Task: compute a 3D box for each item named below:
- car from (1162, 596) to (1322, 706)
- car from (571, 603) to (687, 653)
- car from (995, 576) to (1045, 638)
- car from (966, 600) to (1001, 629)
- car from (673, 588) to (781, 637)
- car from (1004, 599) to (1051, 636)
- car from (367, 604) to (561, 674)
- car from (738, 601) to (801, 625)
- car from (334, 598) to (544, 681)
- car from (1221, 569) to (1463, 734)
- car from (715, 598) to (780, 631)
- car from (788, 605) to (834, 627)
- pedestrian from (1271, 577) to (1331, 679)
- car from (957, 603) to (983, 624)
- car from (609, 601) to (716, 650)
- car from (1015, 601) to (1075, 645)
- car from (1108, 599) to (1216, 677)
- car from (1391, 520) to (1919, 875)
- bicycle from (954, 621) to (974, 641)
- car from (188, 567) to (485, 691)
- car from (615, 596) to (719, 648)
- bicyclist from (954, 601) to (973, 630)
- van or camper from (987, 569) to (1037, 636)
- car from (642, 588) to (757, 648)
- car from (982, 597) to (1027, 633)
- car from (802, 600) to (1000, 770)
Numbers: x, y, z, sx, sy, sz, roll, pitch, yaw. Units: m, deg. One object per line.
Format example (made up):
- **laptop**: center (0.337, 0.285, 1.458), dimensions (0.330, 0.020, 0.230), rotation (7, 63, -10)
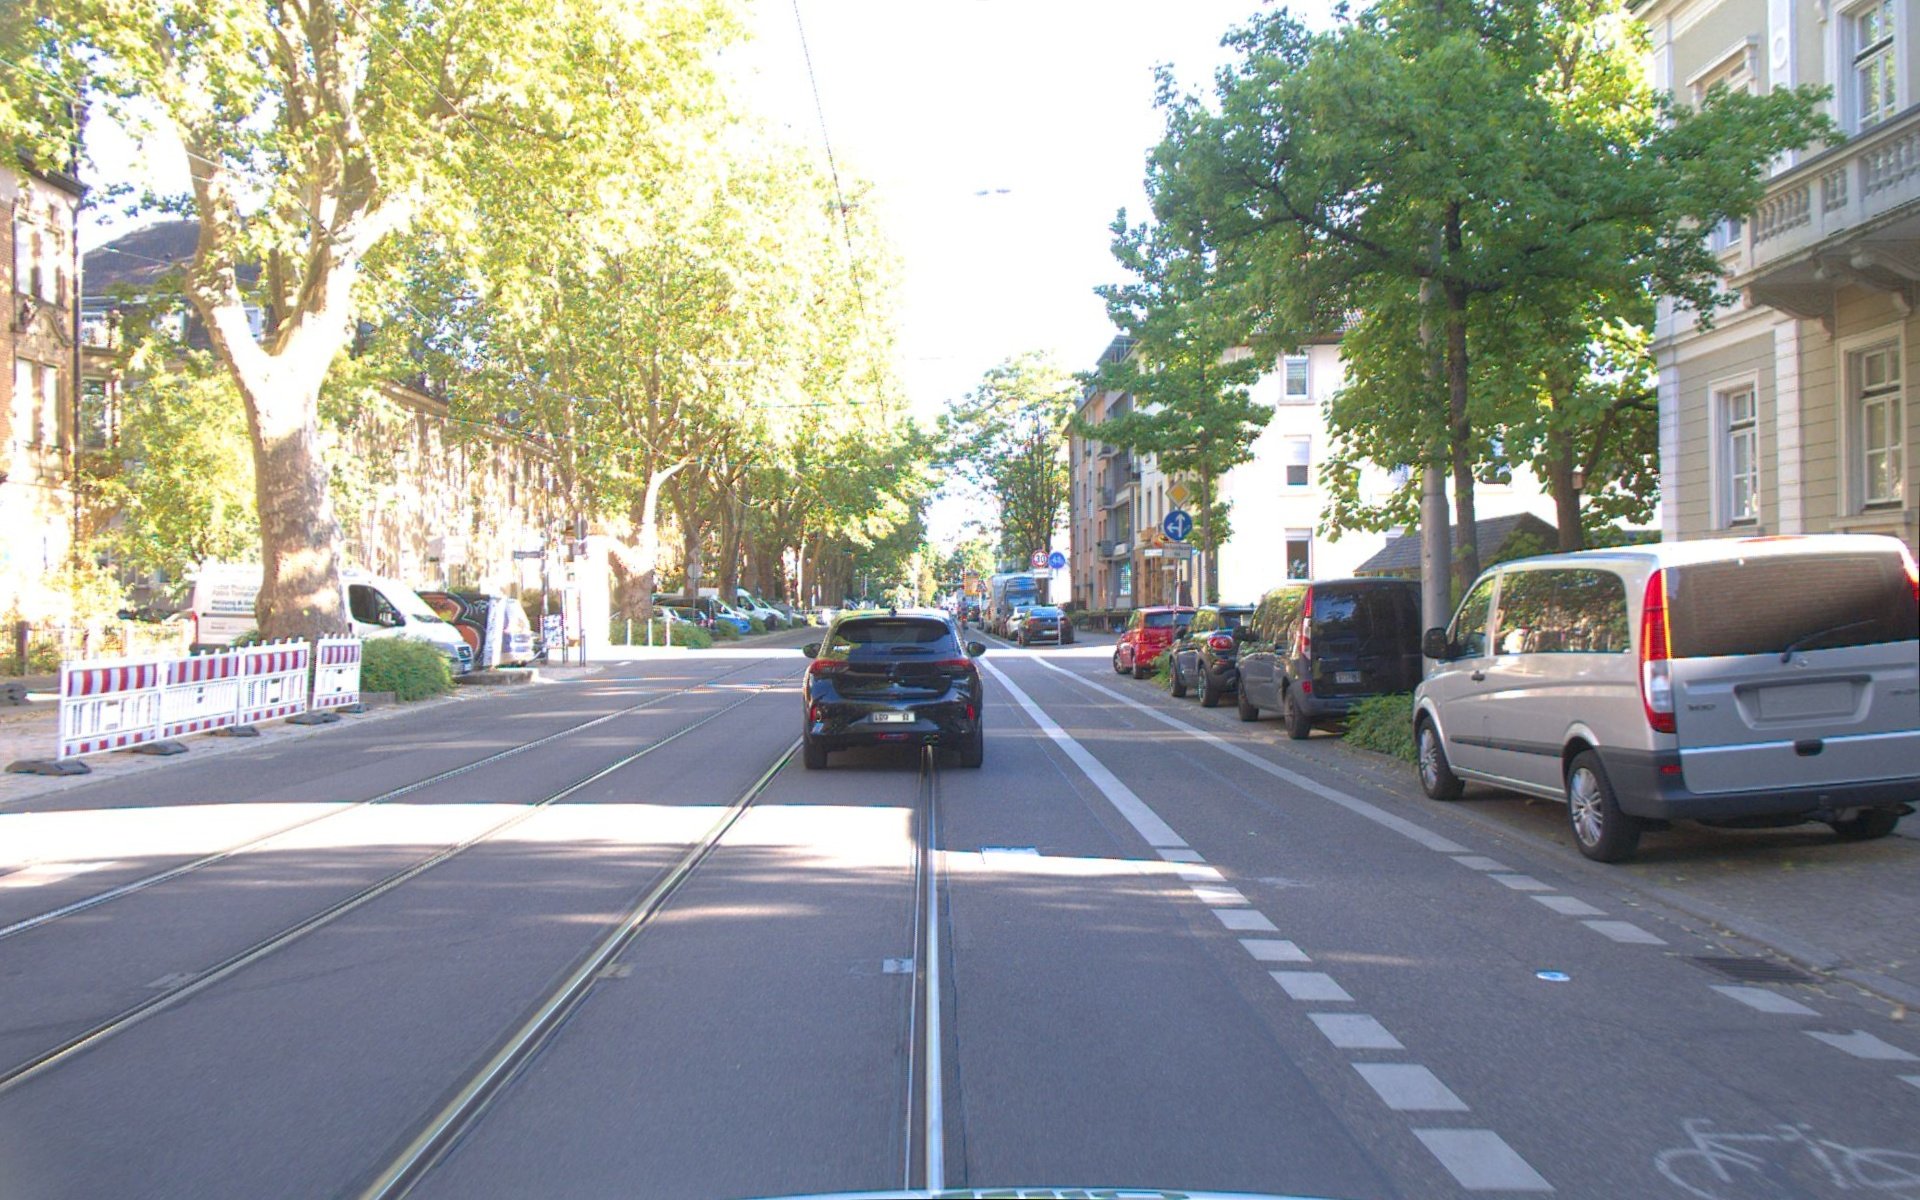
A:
- **car**: center (4.434, 0.774, 26.569), dimensions (1.678, 1.540, 4.034), rotation (-3, 0, -2)
- **car**: center (-12.771, 1.072, 64.111), dimensions (4.221, 1.621, 1.779), rotation (-4, 0, -9)
- **car**: center (2.802, 0.306, 78.629), dimensions (2.043, 2.820, 4.696), rotation (-2, 0, -1)
- **car**: center (1.581, 0.969, 113.905), dimensions (2.208, 1.873, 5.529), rotation (-2, 0, -1)
- **car**: center (-12.694, 0.686, 90.382), dimensions (5.521, 2.638, 2.197), rotation (0, -1, 2)
- **car**: center (2.893, 0.771, 71.429), dimensions (1.767, 1.459, 3.998), rotation (-2, -1, -1)
- **car**: center (-12.045, 0.932, 40.387), dimensions (4.214, 1.635, 1.924), rotation (0, 0, -4)
- **car**: center (-13.430, 0.911, 116.614), dimensions (4.275, 1.694, 1.995), rotation (0, -1, -10)
- **car**: center (-11.825, 0.874, 37.758), dimensions (4.214, 1.833, 1.924), rotation (0, 0, -4)
- **car**: center (4.639, 0.591, 20.802), dimensions (1.847, 1.797, 4.677), rotation (-1, 0, -1)
- **car**: center (-13.292, 0.891, 103.427), dimensions (3.914, 2.049, 1.995), rotation (0, -1, -10)
- **car**: center (-13.801, 1.498, 153.009), dimensions (3.902, 2.049, 2.001), rotation (0, -1, 5)
- **pedestrian**: center (6.066, 0.492, 29.477), dimensions (0.813, 1.741, 0.835), rotation (-3, 1, -1)
- **car**: center (0.892, 1.250, 155.397), dimensions (2.208, 1.873, 5.529), rotation (-2, 0, -1)
- **car**: center (-12.320, 1.039, 68.645), dimensions (4.221, 1.703, 1.779), rotation (-4, 0, -9)
- **car**: center (3.115, 0.849, 61.333), dimensions (1.846, 1.459, 4.529), rotation (-3, 0, -1)
- **car**: center (4.238, 0.785, 35.246), dimensions (1.668, 1.448, 3.977), rotation (-4, 0, -1)
- **car**: center (4.703, 0.547, 11.676), dimensions (1.846, 1.883, 4.966), rotation (-3, 0, -1)
- **bicycle**: center (0.192, 1.652, 88.248), dimensions (0.948, 1.016, 2.582), rotation (0, 0, -2)
- **car**: center (-11.879, 0.549, 31.807), dimensions (4.934, 2.299, 2.084), rotation (0, 0, -5)
- **car**: center (-12.531, 0.942, 70.970), dimensions (4.221, 1.872, 1.779), rotation (-4, 0, -9)
- **bicyclist**: center (0.197, 0.841, 88.242), dimensions (0.939, 1.525, 1.093), rotation (0, -1, -3)
- **van or camper**: center (2.651, 0.156, 85.193), dimensions (2.208, 3.272, 5.529), rotation (-2, 0, -1)
- **car**: center (-12.217, 0.850, 77.675), dimensions (4.935, 2.415, 2.081), rotation (-4, 0, -1)
- **car**: center (2.427, 0.829, 92.381), dimensions (2.208, 1.873, 5.529), rotation (-2, 0, -1)
- **car**: center (-0.546, 0.758, 16.492), dimensions (1.727, 1.486, 3.949), rotation (0, 0, -1)
